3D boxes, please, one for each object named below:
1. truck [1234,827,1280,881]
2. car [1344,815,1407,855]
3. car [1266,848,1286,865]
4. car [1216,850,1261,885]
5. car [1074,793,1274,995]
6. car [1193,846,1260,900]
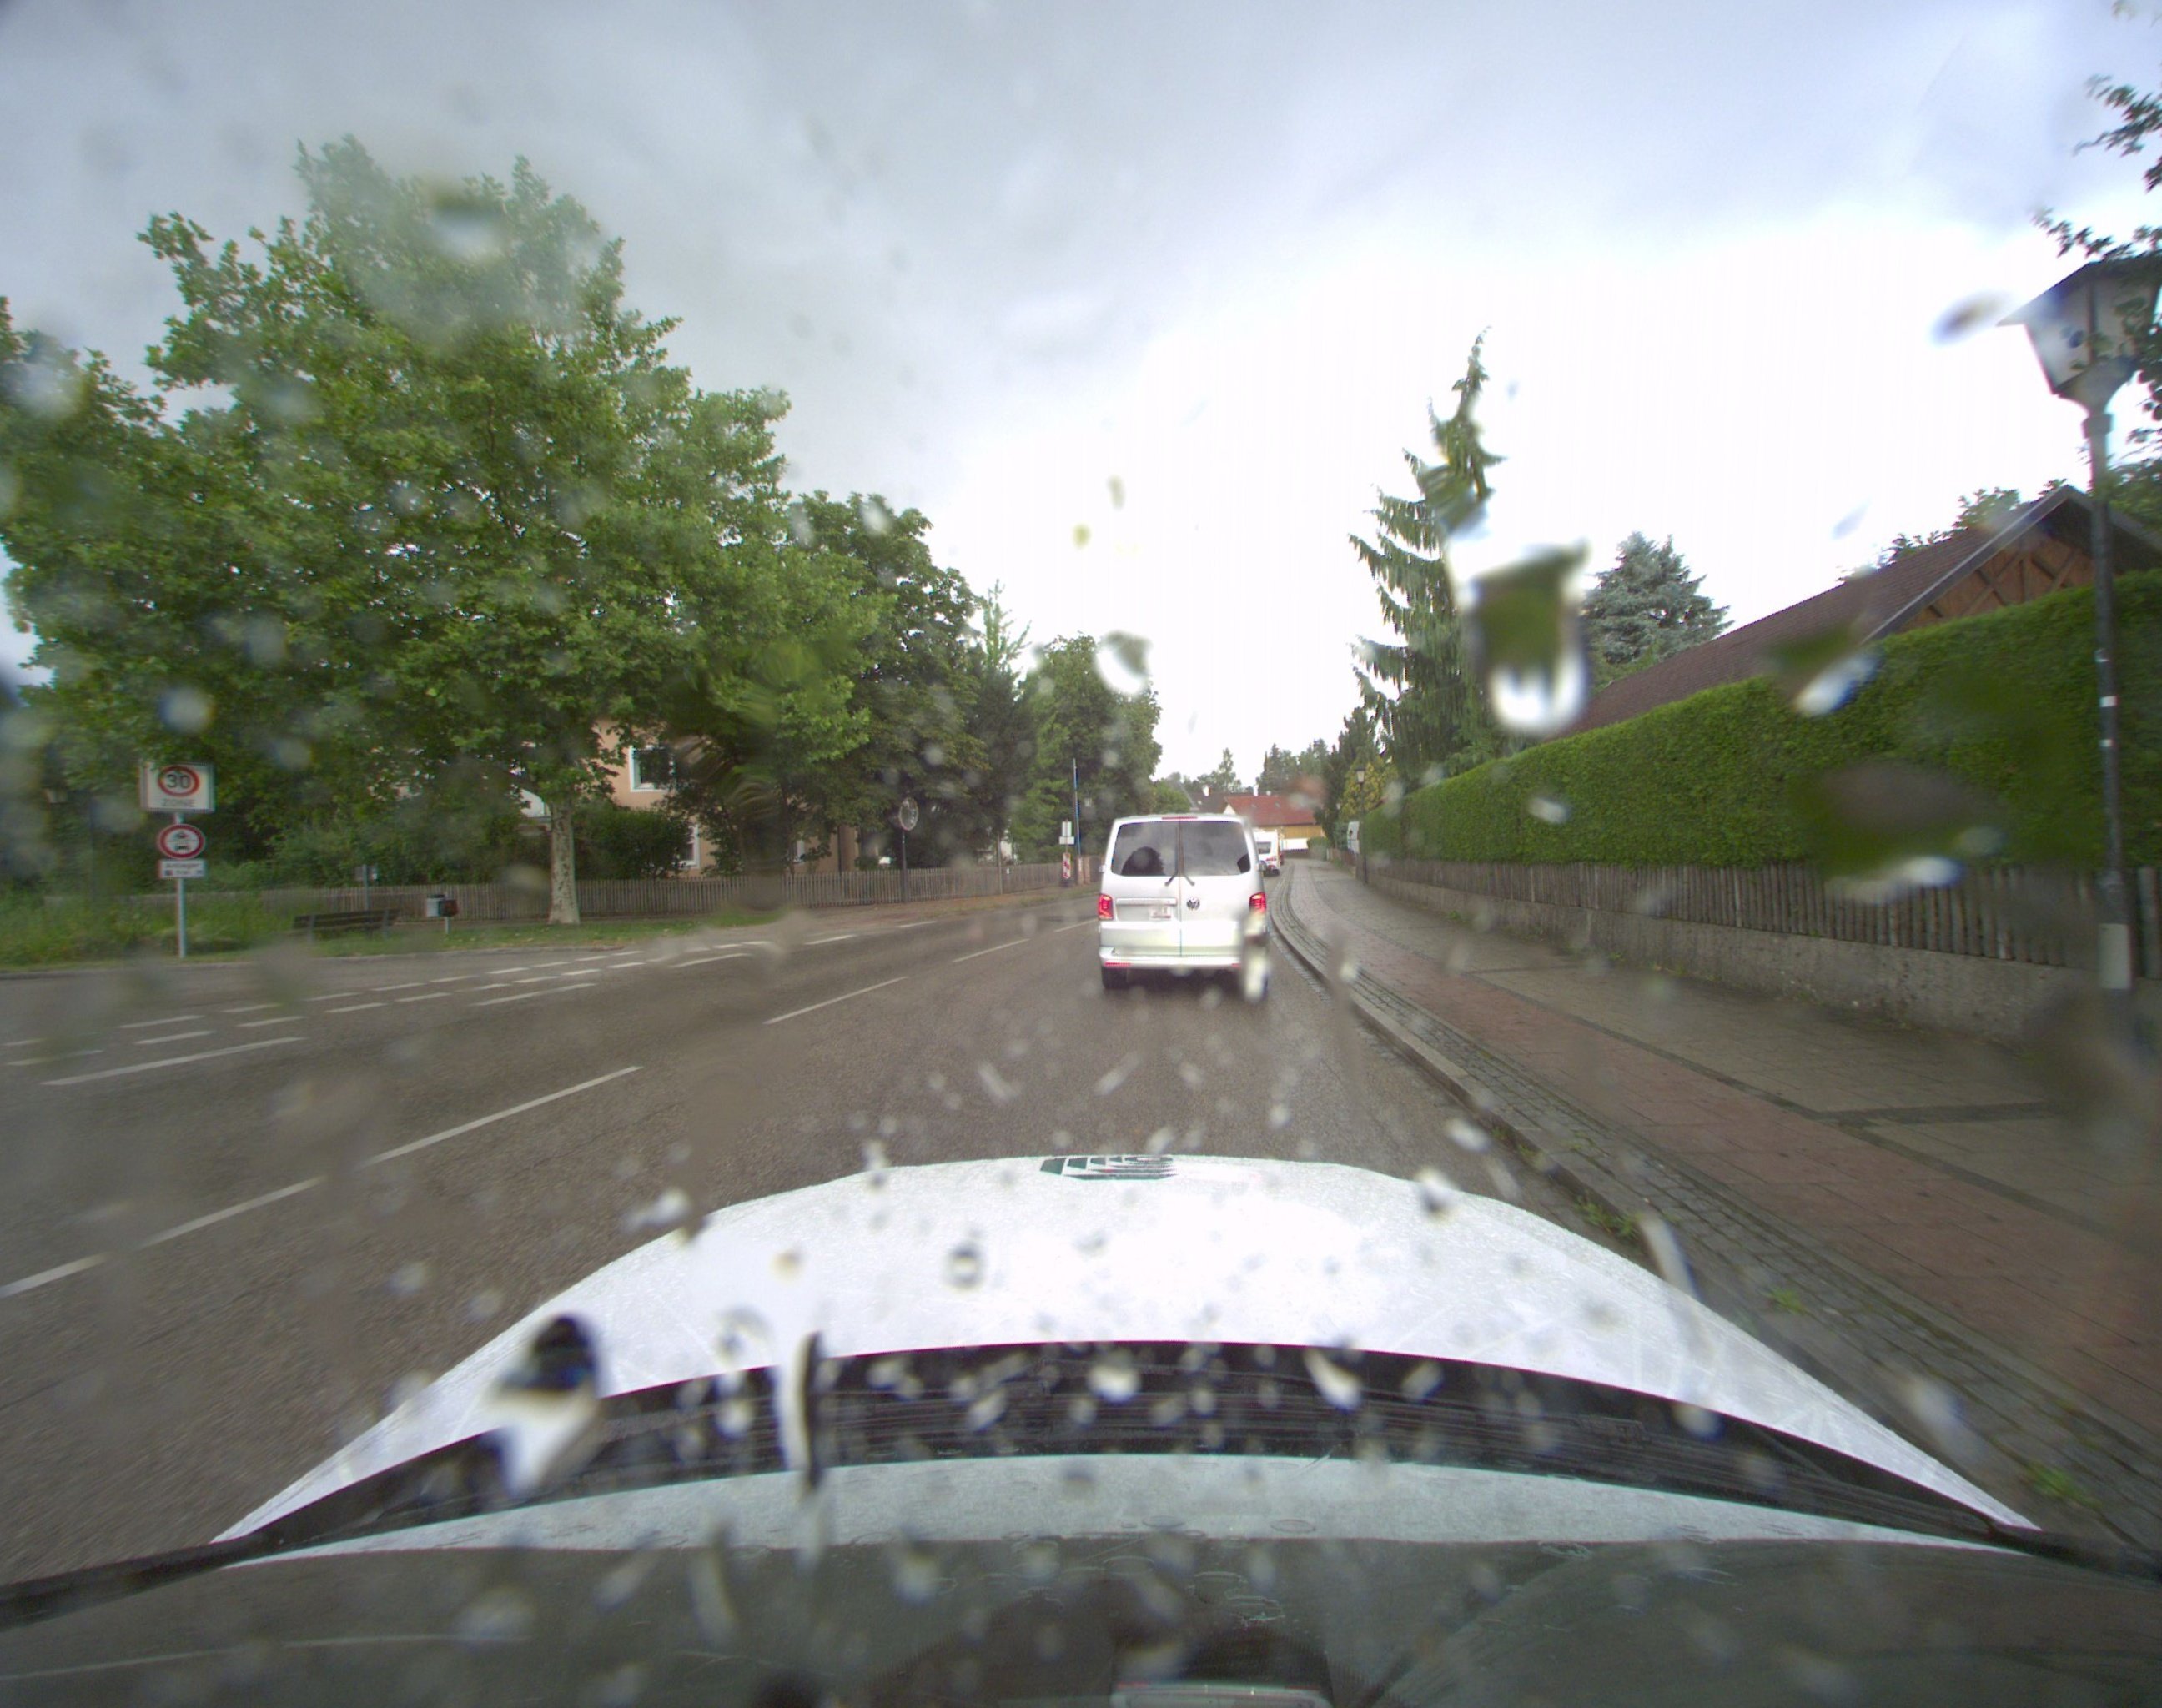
[{"bbox_3d":[10.658,0.032,48.903,2.458,3.074,6.320,0,-1,14],"label":"truck"},{"bbox_3d":[17.233,-1.034,47.876,1.986,2.173,4.954,0,-1,1],"label":"car"},{"bbox_3d":[18.091,0.223,75.401,1.788,1.508,4.015,0,-1,14],"label":"car"},{"bbox_3d":[7.260,0.593,37.347,1.788,1.508,4.015,0,-1,14],"label":"car"},{"bbox_3d":[1.373,0.419,10.273,1.787,2.014,4.018,-1,-1,17],"label":"car"},{"bbox_3d":[4.700,0.572,25.865,1.788,1.588,4.015,0,-1,14],"label":"car"}]
